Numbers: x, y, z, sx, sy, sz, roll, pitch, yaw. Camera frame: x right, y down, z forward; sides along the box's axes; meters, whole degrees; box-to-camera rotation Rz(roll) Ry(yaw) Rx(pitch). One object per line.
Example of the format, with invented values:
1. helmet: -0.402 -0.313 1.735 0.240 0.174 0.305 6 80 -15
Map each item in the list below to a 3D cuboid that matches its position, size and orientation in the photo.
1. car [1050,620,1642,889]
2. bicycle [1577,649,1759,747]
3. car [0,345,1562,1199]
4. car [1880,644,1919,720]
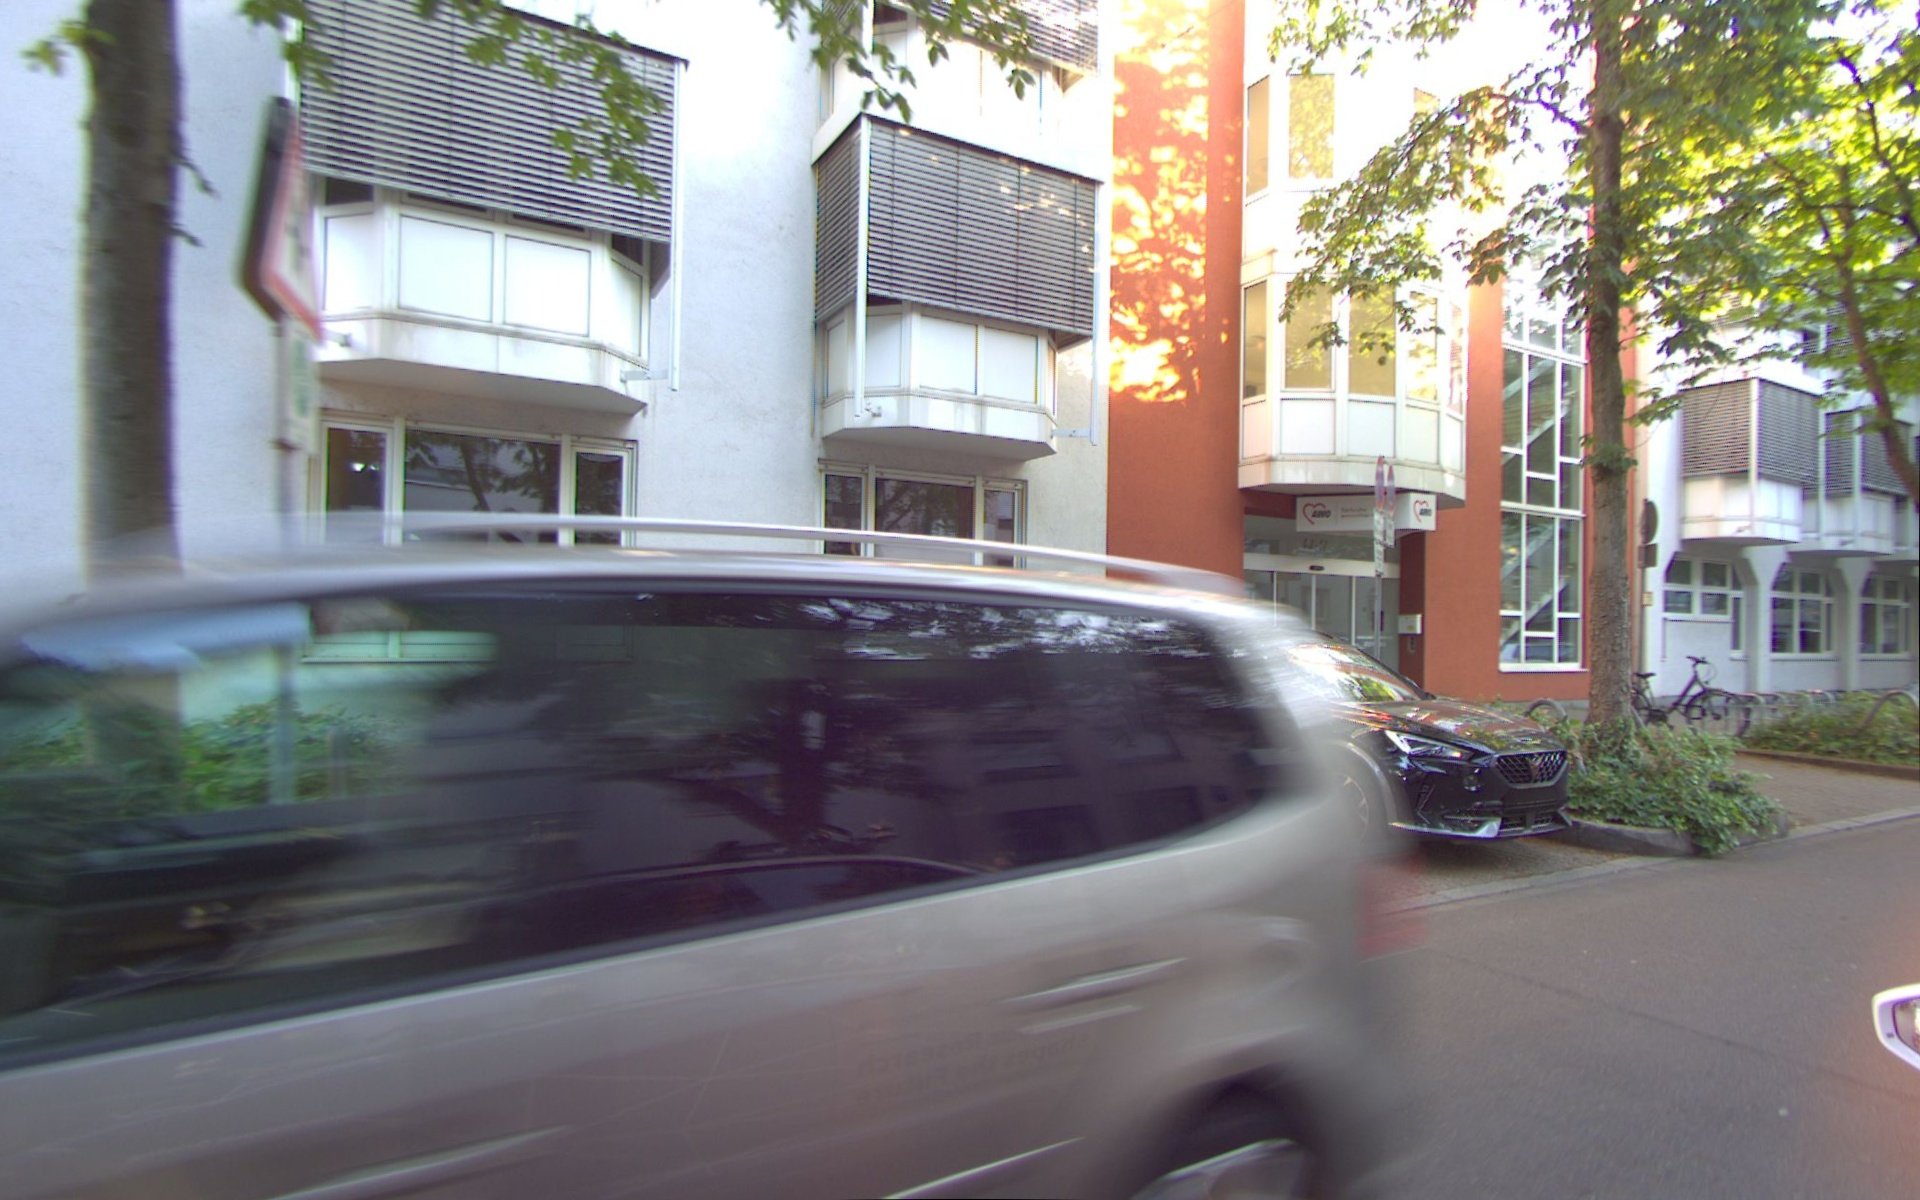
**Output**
1. car: 2.789 0.982 8.399 1.849 1.546 4.489 2 -1 -29
2. bicycle: 9.681 1.293 13.812 0.650 1.192 1.945 2 -2 -35
3. car: -1.062 0.638 1.820 4.332 1.711 1.775 2 -1 -29
4. car: 20.481 1.640 19.013 1.929 1.488 4.151 2 -1 -28
